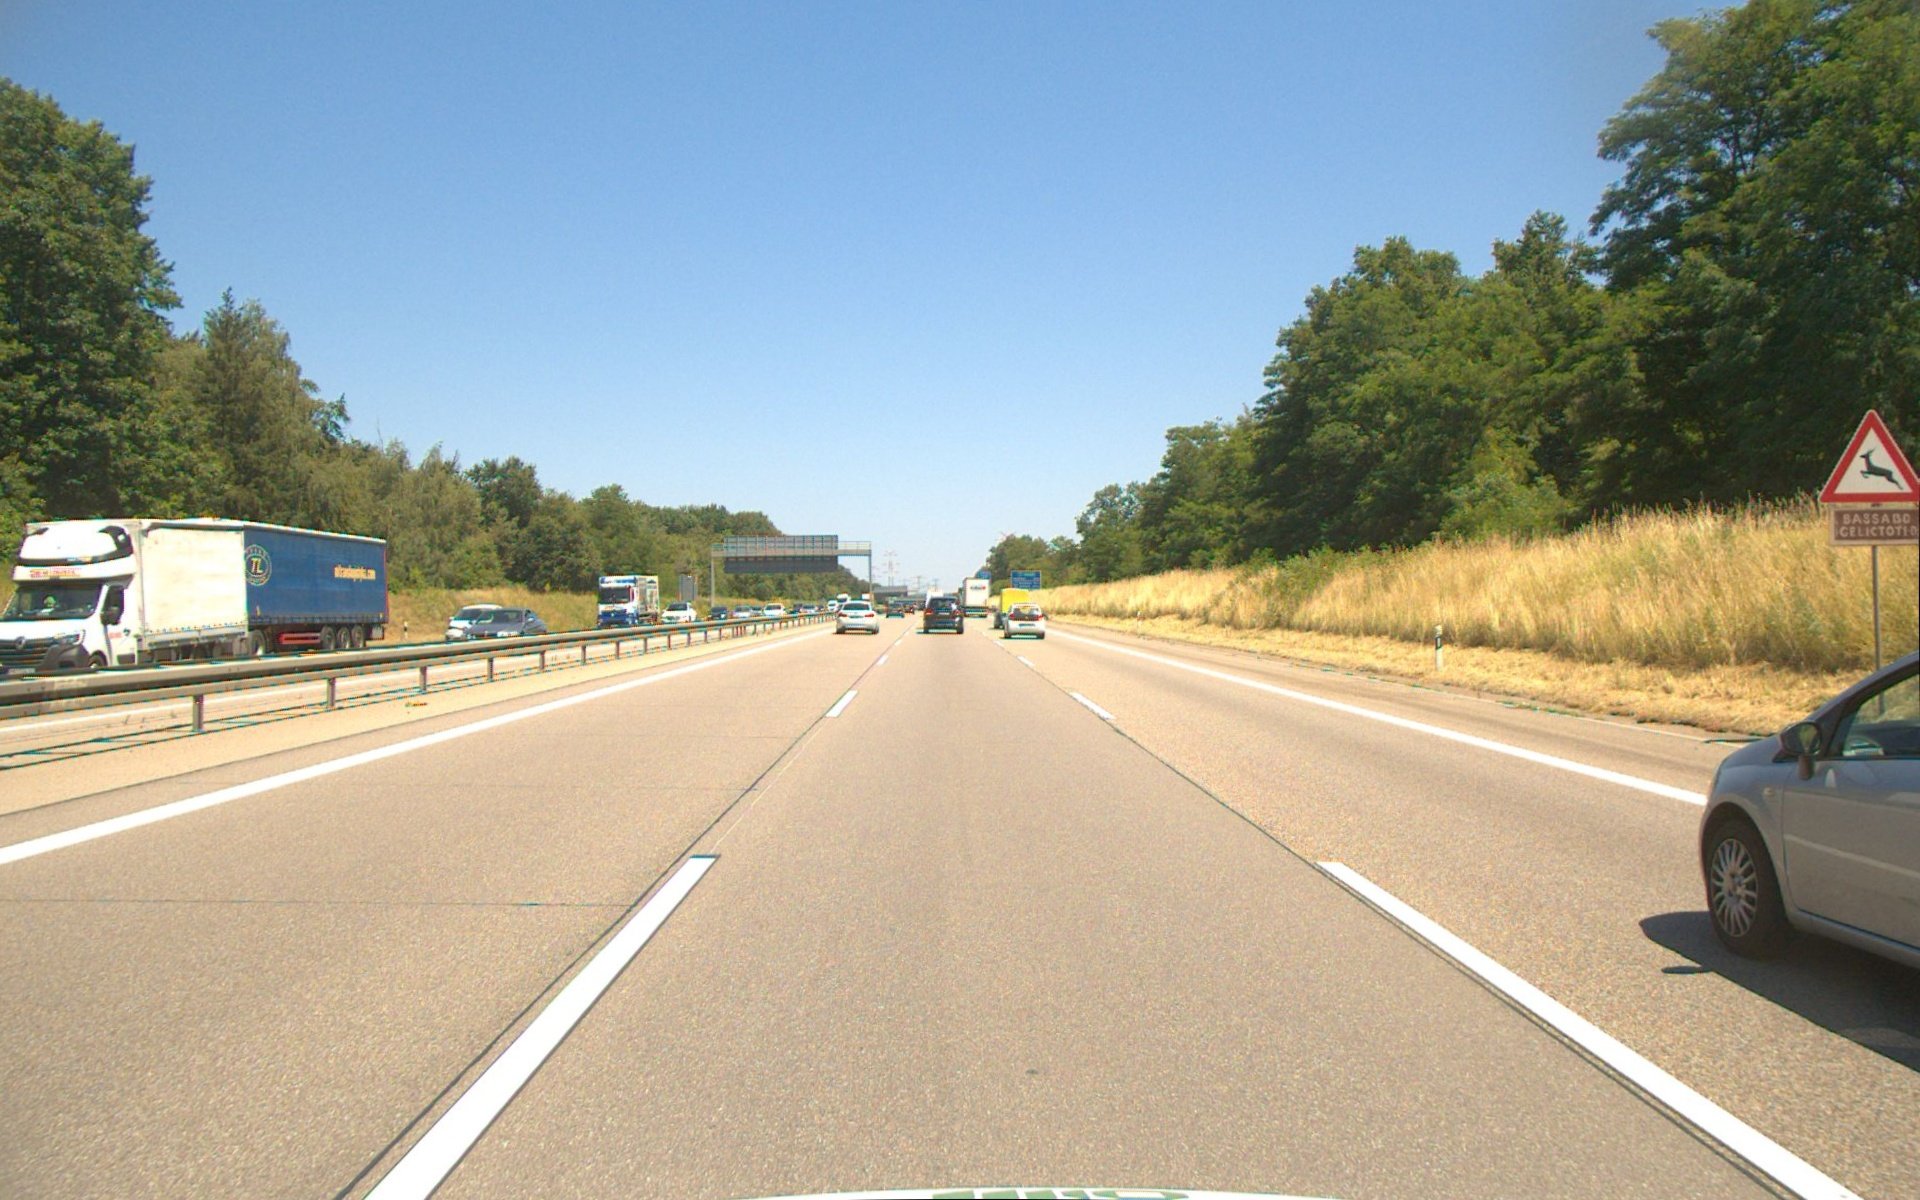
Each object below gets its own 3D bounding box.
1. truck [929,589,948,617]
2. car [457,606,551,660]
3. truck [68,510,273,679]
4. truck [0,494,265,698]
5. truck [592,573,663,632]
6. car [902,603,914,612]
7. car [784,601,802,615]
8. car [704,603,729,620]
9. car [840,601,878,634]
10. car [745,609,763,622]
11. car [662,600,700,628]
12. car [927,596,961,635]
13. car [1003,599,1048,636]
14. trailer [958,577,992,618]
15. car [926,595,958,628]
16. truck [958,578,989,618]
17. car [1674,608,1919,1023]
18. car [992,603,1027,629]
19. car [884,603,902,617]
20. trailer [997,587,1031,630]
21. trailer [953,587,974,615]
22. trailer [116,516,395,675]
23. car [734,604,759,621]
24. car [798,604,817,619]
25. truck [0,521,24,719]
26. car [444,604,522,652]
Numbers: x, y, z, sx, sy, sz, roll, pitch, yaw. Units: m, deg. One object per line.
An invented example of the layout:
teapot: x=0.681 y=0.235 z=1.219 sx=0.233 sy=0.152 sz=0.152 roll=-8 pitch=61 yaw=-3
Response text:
truck: x=-2.391 y=0.363 z=180.595 sx=2.018 sy=2.965 sz=7.001 roll=0 pitch=-1 yaw=-1
car: x=-13.392 y=0.931 z=48.781 sx=1.572 sy=1.423 sz=4.543 roll=-3 pitch=0 yaw=-2
truck: x=-21.026 y=-0.139 z=44.452 sx=2.455 sy=4.084 sz=6.124 roll=-3 pitch=0 yaw=-1
truck: x=-17.470 y=-0.049 z=34.516 sx=2.407 sy=3.669 sz=8.118 roll=-3 pitch=0 yaw=-1
truck: x=-21.945 y=0.157 z=109.886 sx=2.677 sy=3.580 sz=10.438 roll=-3 pitch=0 yaw=-1
car: x=-6.603 y=0.992 z=210.472 sx=1.377 sy=1.151 sz=3.357 roll=1 pitch=0 yaw=-1
car: x=-20.457 y=0.968 z=202.644 sx=1.758 sy=1.647 sz=4.984 roll=-3 pitch=0 yaw=-2
car: x=-23.153 y=1.093 z=157.557 sx=1.621 sy=1.435 sz=5.175 roll=-3 pitch=0 yaw=-1
car: x=-4.567 y=0.784 z=75.203 sx=1.635 sy=1.426 sz=3.711 roll=0 pitch=0 yaw=-2
car: x=-24.281 y=1.810 z=195.138 sx=1.637 sy=1.434 sz=4.596 roll=-3 pitch=0 yaw=-2
car: x=-18.095 y=0.891 z=107.424 sx=1.692 sy=1.675 sz=5.086 roll=-3 pitch=0 yaw=-2
car: x=-0.775 y=0.719 z=78.898 sx=1.593 sy=1.785 sz=3.804 roll=1 pitch=0 yaw=-1
car: x=2.776 y=0.727 z=70.613 sx=1.673 sy=1.521 sz=4.023 roll=1 pitch=0 yaw=-1
trailer: x=1.597 y=-0.193 z=179.729 sx=3.219 sy=4.293 sz=13.560 roll=1 pitch=-1 yaw=-1
car: x=-1.068 y=0.670 z=94.820 sx=1.777 sy=1.859 sz=5.109 roll=0 pitch=-1 yaw=-1
truck: x=1.453 y=-0.171 z=185.640 sx=3.219 sy=4.293 sz=6.005 roll=1 pitch=-1 yaw=-1
car: x=4.323 y=0.790 z=6.022 sx=1.709 sy=1.491 sz=3.980 roll=1 pitch=0 yaw=0
car: x=2.916 y=0.933 z=98.143 sx=1.784 sy=1.481 sz=4.786 roll=1 pitch=0 yaw=-2
car: x=-6.512 y=0.965 z=160.696 sx=1.574 sy=1.323 sz=3.673 roll=1 pitch=0 yaw=-1
trailer: x=3.040 y=0.481 z=93.826 sx=1.668 sy=2.330 sz=3.838 roll=1 pitch=0 yaw=-2
trailer: x=0.474 y=0.202 z=233.267 sx=2.628 sy=3.904 sz=12.006 roll=1 pitch=-1 yaw=-1
trailer: x=-21.104 y=-0.123 z=50.976 sx=2.455 sy=4.084 sz=14.365 roll=-3 pitch=0 yaw=-1
car: x=-19.074 y=1.127 z=148.104 sx=1.726 sy=1.432 sz=4.351 roll=-3 pitch=0 yaw=-2
car: x=-16.402 y=1.245 z=178.193 sx=1.726 sy=1.485 sz=5.119 roll=-3 pitch=0 yaw=-2
truck: x=-13.911 y=0.316 z=18.686 sx=2.040 sy=2.668 sz=8.030 roll=-3 pitch=0 yaw=0
car: x=-17.448 y=0.995 z=60.738 sx=1.572 sy=1.586 sz=4.468 roll=-3 pitch=0 yaw=-1
